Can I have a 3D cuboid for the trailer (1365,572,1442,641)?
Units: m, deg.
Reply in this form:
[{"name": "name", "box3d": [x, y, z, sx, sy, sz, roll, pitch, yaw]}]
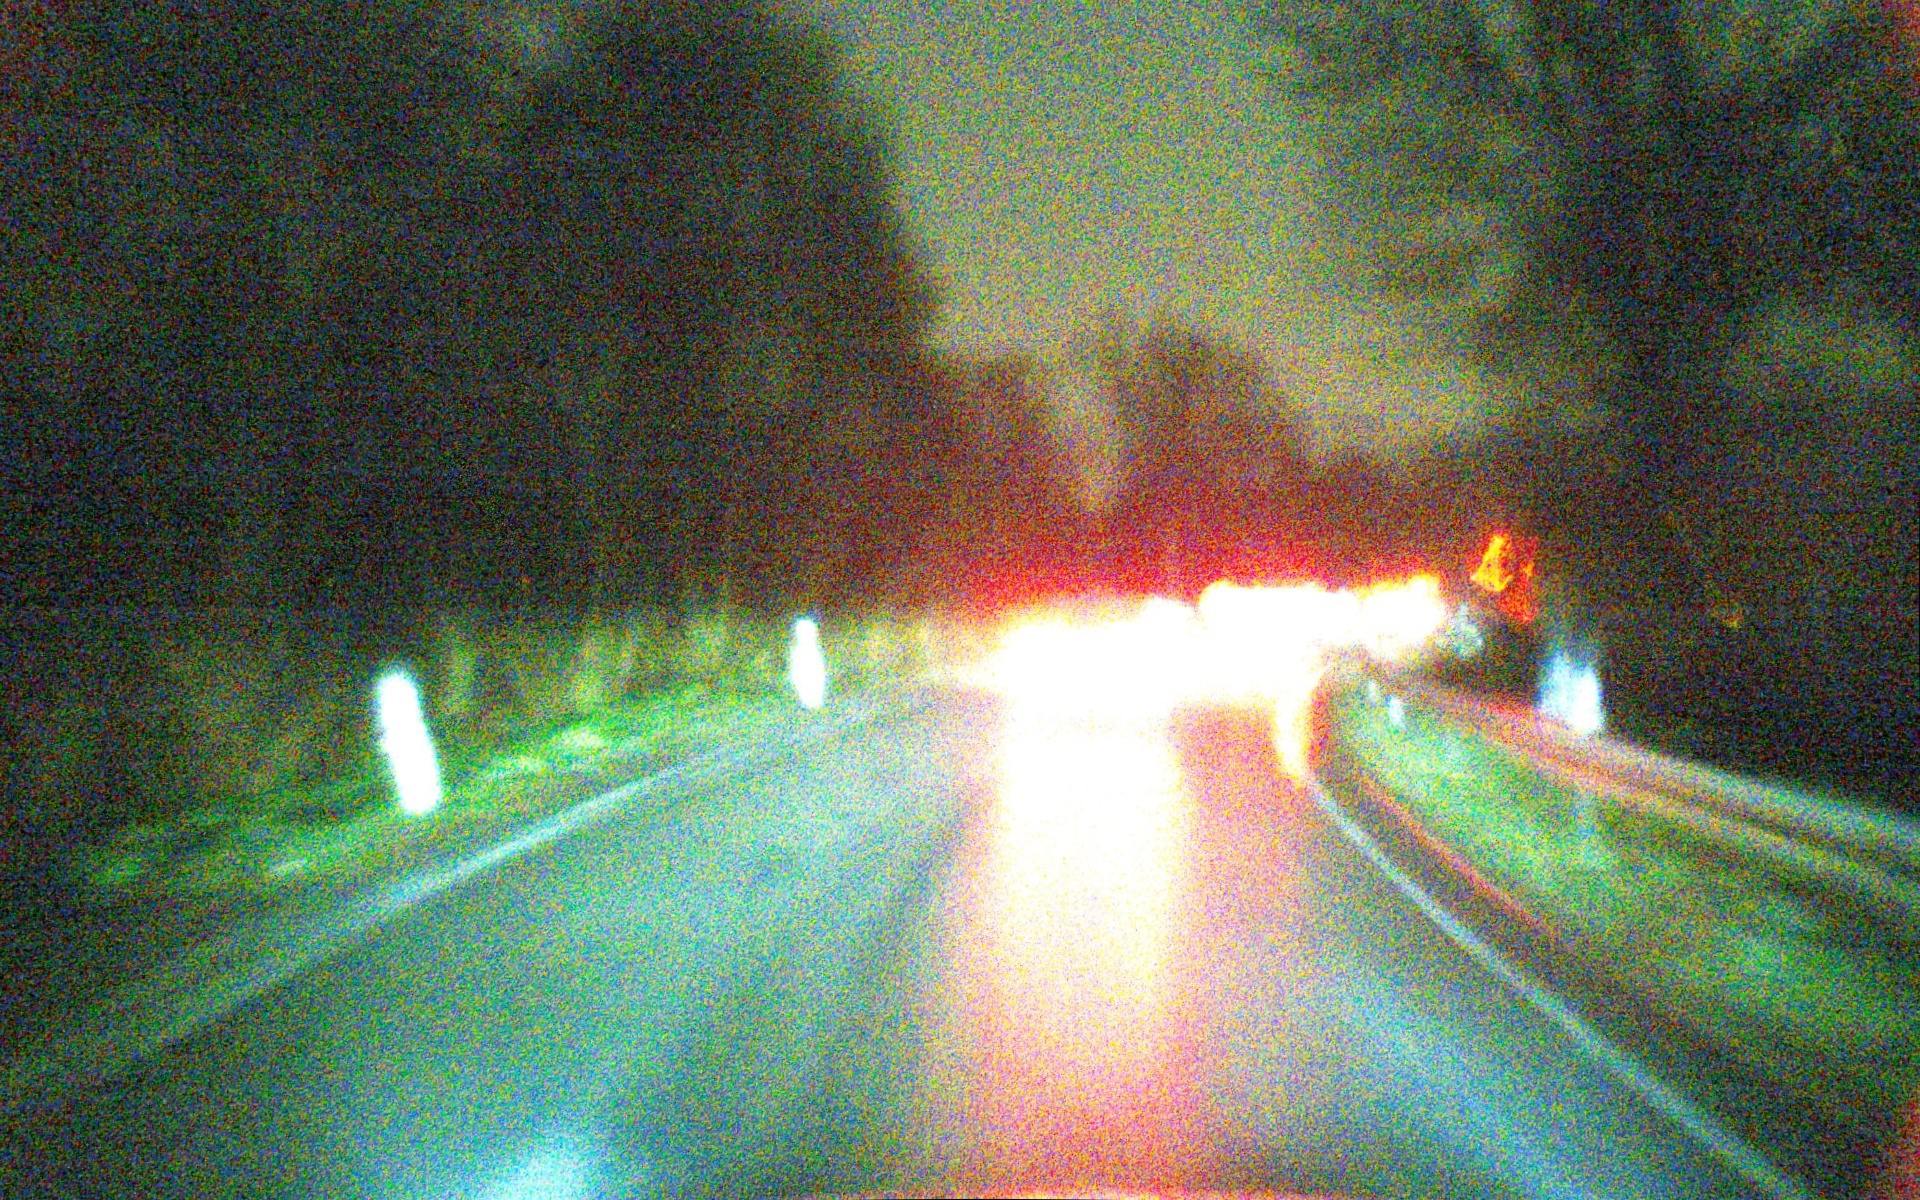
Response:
[{"name": "trailer", "box3d": [15.237, 0.321, 56.374, 2.034, 2.049, 10.652, -3, -2, 17]}]
